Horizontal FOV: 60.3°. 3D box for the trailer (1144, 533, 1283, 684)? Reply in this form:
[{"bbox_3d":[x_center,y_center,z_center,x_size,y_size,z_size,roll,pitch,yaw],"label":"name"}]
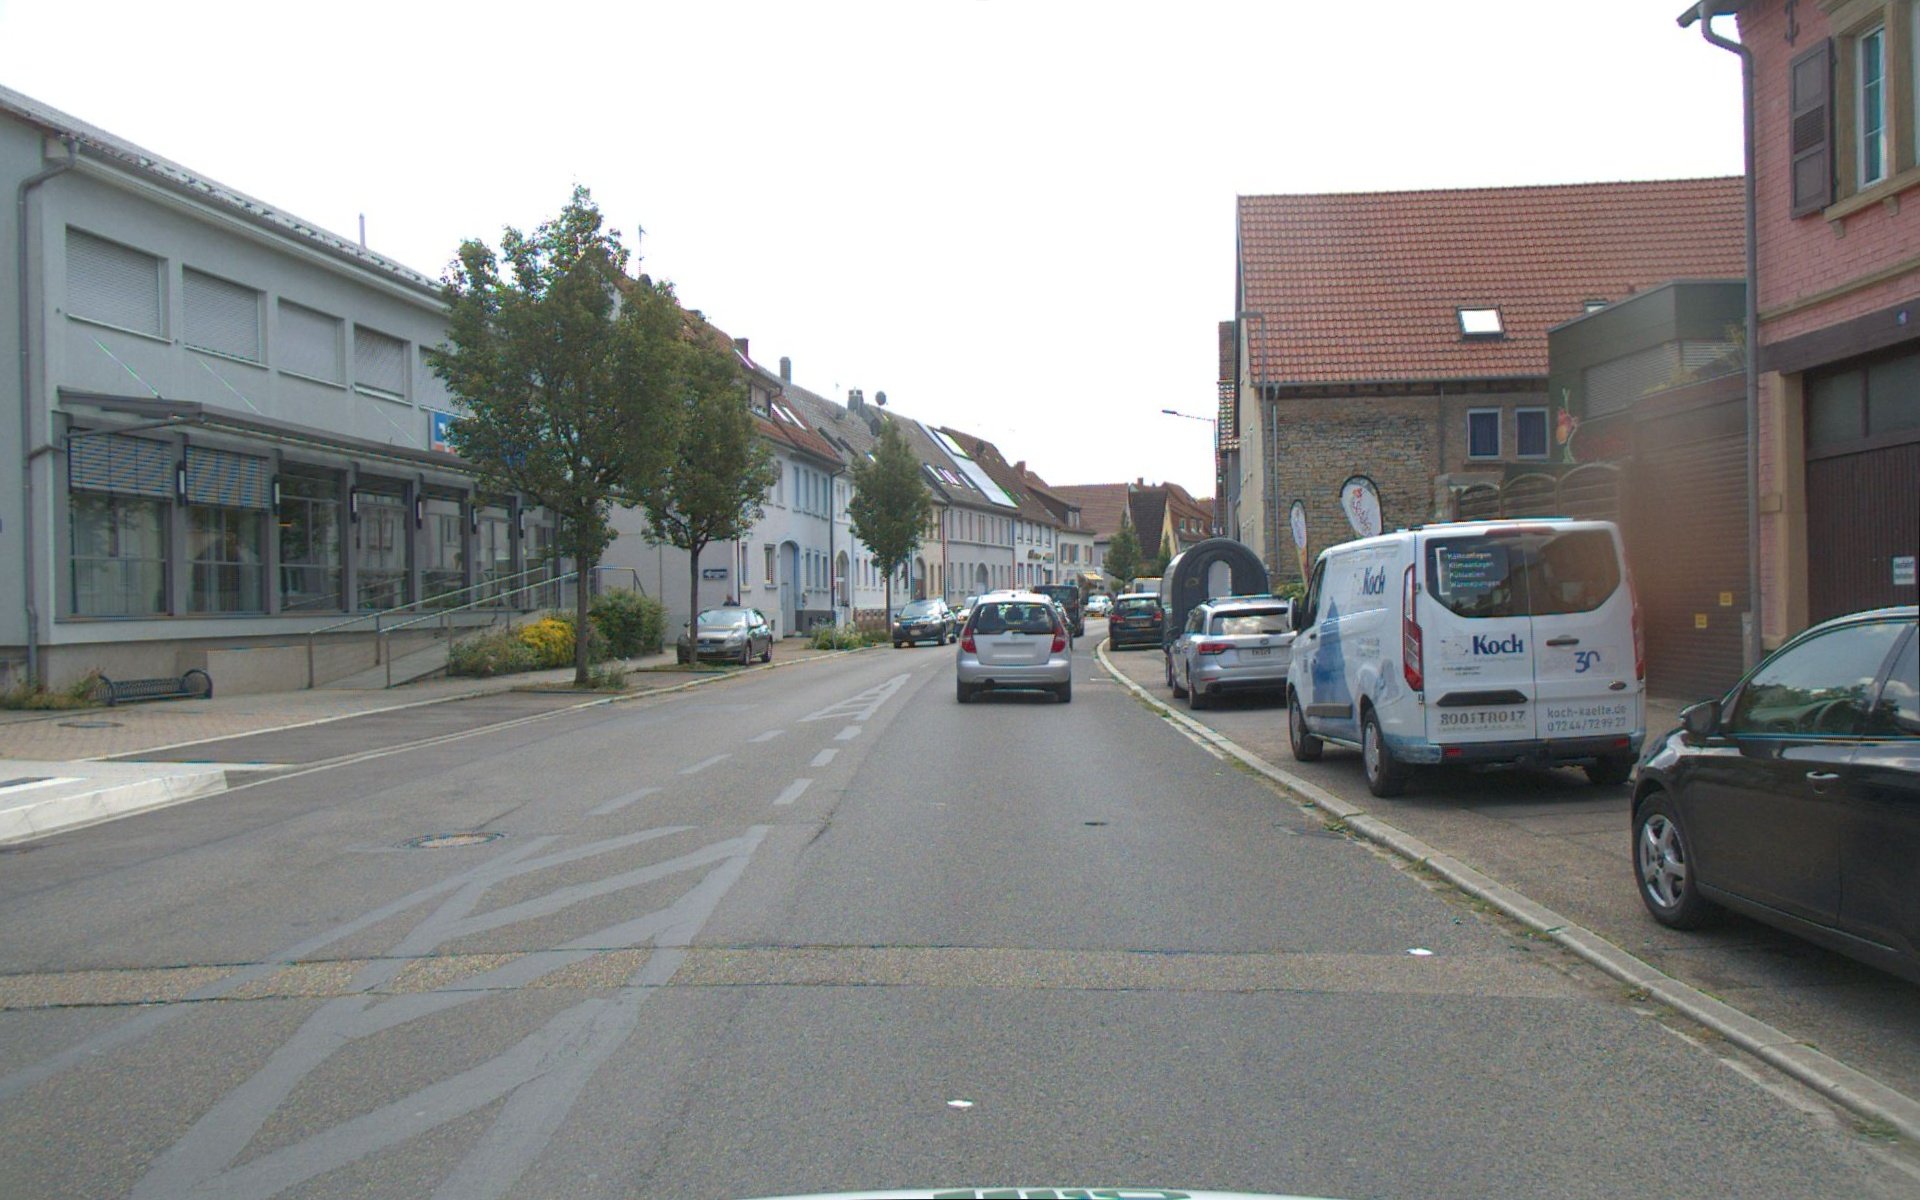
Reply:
[{"bbox_3d":[4.343,0.134,28.794,1.807,2.395,3.589,-2,0,0],"label":"trailer"}]

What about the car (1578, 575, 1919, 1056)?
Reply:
[{"bbox_3d":[3.979,0.682,6.230,1.738,1.521,4.162,-3,0,1],"label":"car"}]

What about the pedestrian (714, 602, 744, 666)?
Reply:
[{"bbox_3d":[-6.831,0.999,48.905,0.723,1.833,0.643,-2,-1,2],"label":"pedestrian"}]

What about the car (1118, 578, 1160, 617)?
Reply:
[{"bbox_3d":[11.233,-0.153,103.583,2.188,2.261,4.003,-3,-1,11],"label":"car"}]

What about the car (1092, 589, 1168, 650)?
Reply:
[{"bbox_3d":[4.948,0.521,47.765,1.951,1.586,4.003,-3,0,8],"label":"car"}]

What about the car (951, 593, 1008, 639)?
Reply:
[{"bbox_3d":[0.844,0.637,68.539,1.913,1.816,4.655,0,0,6],"label":"car"}]

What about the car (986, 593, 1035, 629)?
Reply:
[{"bbox_3d":[2.864,0.614,92.534,2.047,1.917,4.004,-2,0,11],"label":"car"}]

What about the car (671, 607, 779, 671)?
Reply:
[{"bbox_3d":[-5.855,0.950,41.722,1.766,1.486,4.161,-1,0,5],"label":"car"}]

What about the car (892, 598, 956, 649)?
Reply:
[{"bbox_3d":[-1.168,0.748,55.842,1.706,1.553,4.022,-3,0,4],"label":"car"}]

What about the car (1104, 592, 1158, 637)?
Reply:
[{"bbox_3d":[6.746,0.572,65.046,1.821,1.654,4.200,-3,-1,9],"label":"car"}]

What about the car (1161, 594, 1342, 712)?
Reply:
[{"bbox_3d":[4.077,0.685,23.857,1.837,1.507,4.675,-1,0,1],"label":"car"}]

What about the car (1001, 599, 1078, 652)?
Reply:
[{"bbox_3d":[2.342,0.718,47.774,1.904,1.432,4.003,1,0,7],"label":"car"}]

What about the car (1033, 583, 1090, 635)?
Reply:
[{"bbox_3d":[4.026,0.368,64.897,1.731,1.921,4.450,1,0,9],"label":"car"}]

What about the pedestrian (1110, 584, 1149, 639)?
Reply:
[{"bbox_3d":[5.824,0.392,56.806,1.072,1.853,1.470,-2,0,14],"label":"pedestrian"}]

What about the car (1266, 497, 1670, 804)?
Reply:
[{"bbox_3d":[4.002,0.350,14.011,1.853,2.016,4.931,-4,0,1],"label":"car"}]

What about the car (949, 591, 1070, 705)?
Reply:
[{"bbox_3d":[0.772,0.712,25.995,1.732,1.622,4.001,1,0,1],"label":"car"}]
